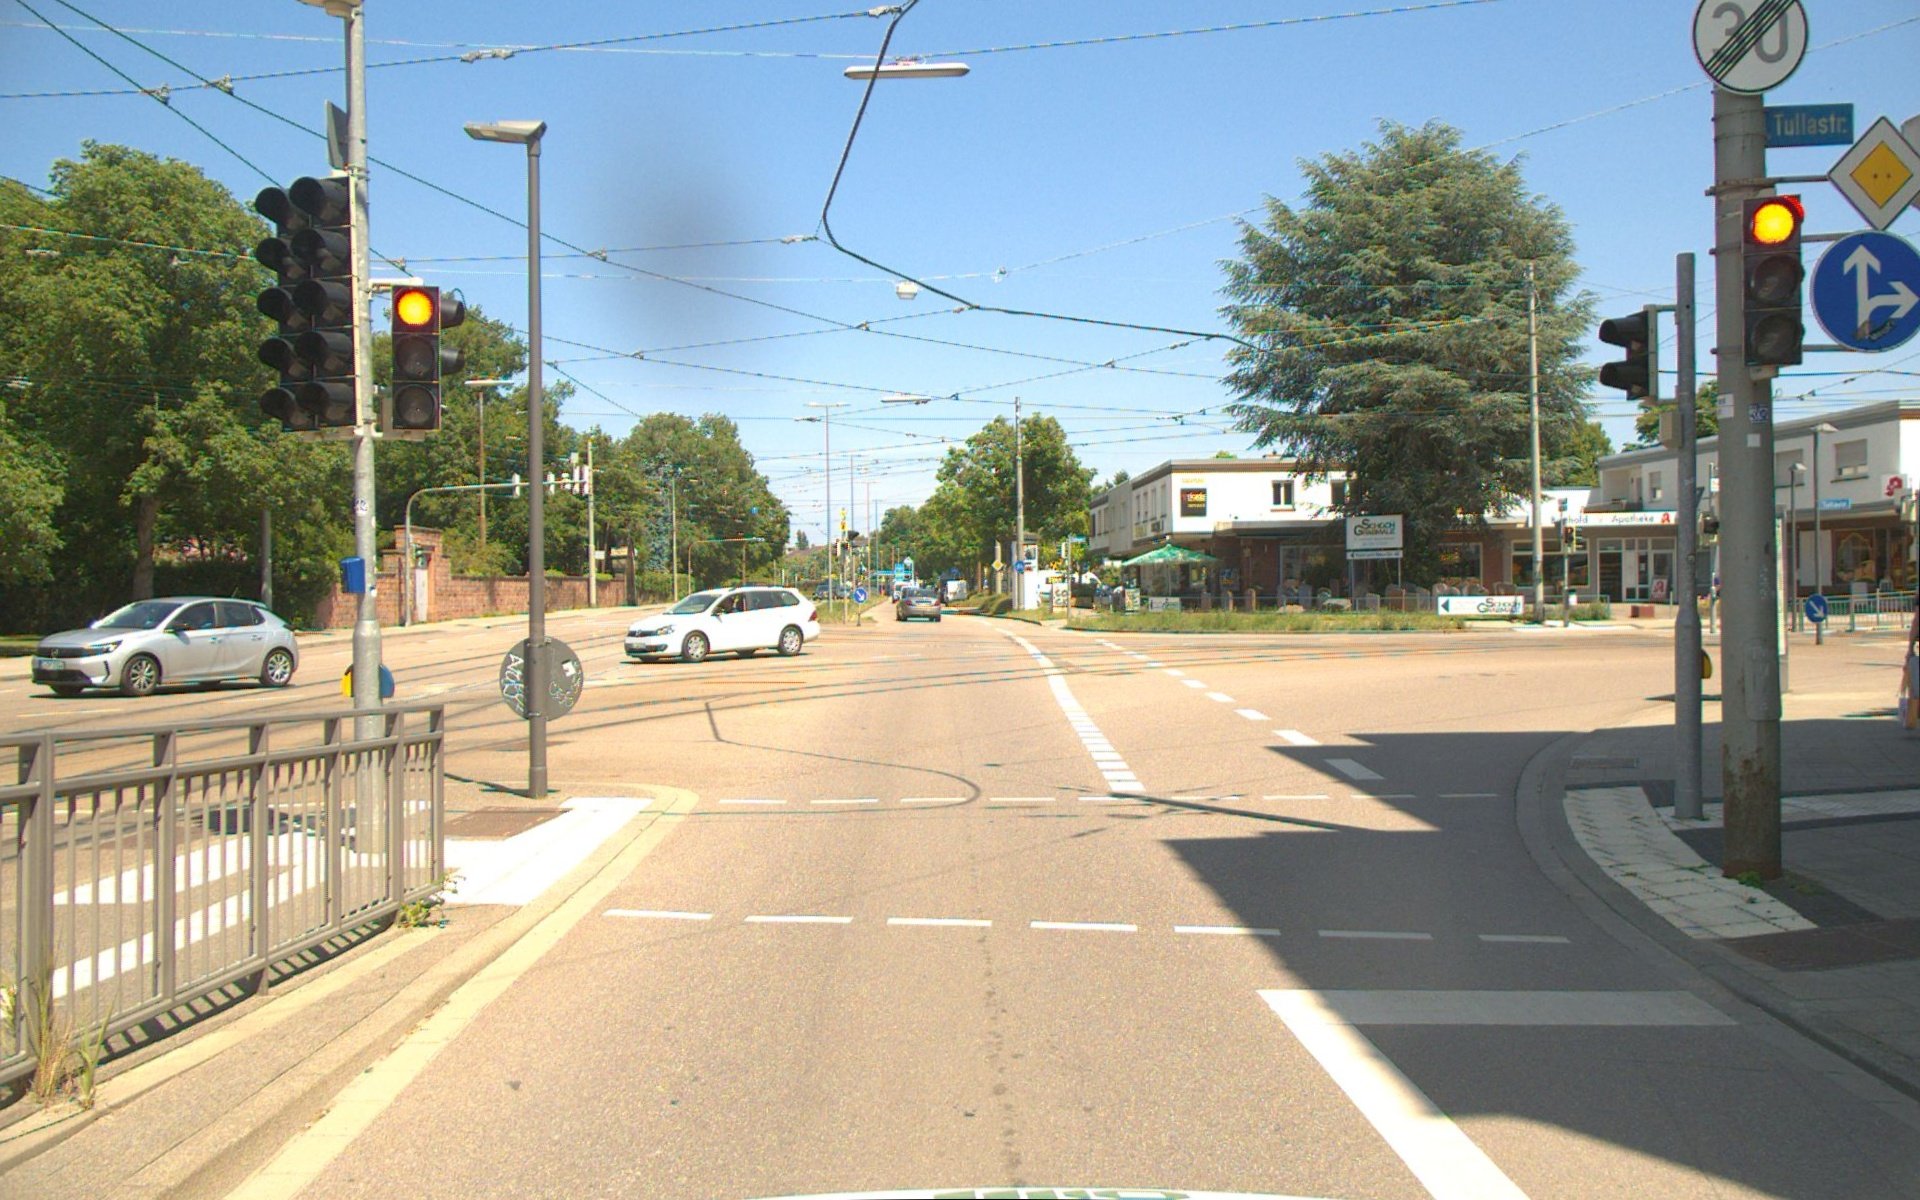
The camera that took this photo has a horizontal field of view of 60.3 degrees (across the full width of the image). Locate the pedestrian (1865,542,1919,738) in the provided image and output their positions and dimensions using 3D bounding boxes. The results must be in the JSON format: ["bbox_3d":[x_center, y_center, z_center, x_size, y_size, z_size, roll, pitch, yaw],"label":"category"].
[{"bbox_3d":[8.321,0.306,13.978,0.809,1.611,0.827,-4,0,5],"label":"pedestrian"}]

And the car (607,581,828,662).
[{"bbox_3d":[-5.045,0.413,34.870,1.792,1.515,4.471,0,1,43],"label":"car"}]

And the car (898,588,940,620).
[{"bbox_3d":[-1.867,0.143,74.223,1.605,1.375,3.838,-1,0,-5],"label":"car"}]

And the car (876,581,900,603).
[{"bbox_3d":[-6.273,-0.675,143.884,1.954,1.892,3.997,-1,0,-3],"label":"car"}]

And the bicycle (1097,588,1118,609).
[{"bbox_3d":[7.549,-0.062,84.599,1.012,1.032,2.639,-1,0,5],"label":"bicycle"}]

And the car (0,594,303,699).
[{"bbox_3d":[-12.271,0.664,25.214,1.782,1.386,4.049,-2,0,25],"label":"car"}]

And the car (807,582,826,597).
[{"bbox_3d":[-15.869,-1.136,183.079,1.783,1.631,4.520,0,1,-1],"label":"car"}]

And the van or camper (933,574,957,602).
[{"bbox_3d":[-1.385,-1.141,152.830,1.954,2.507,3.997,-1,0,-4],"label":"van or camper"}]

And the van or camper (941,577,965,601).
[{"bbox_3d":[-0.569,-0.869,130.373,1.883,1.803,3.999,-1,0,-1],"label":"van or camper"}]

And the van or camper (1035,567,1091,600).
[{"bbox_3d":[8.936,-1.434,143.543,4.662,2.717,2.134,-1,0,-3],"label":"van or camper"}]

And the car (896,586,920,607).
[{"bbox_3d":[-3.675,-0.268,117.924,1.636,1.460,3.474,0,0,0],"label":"car"}]
